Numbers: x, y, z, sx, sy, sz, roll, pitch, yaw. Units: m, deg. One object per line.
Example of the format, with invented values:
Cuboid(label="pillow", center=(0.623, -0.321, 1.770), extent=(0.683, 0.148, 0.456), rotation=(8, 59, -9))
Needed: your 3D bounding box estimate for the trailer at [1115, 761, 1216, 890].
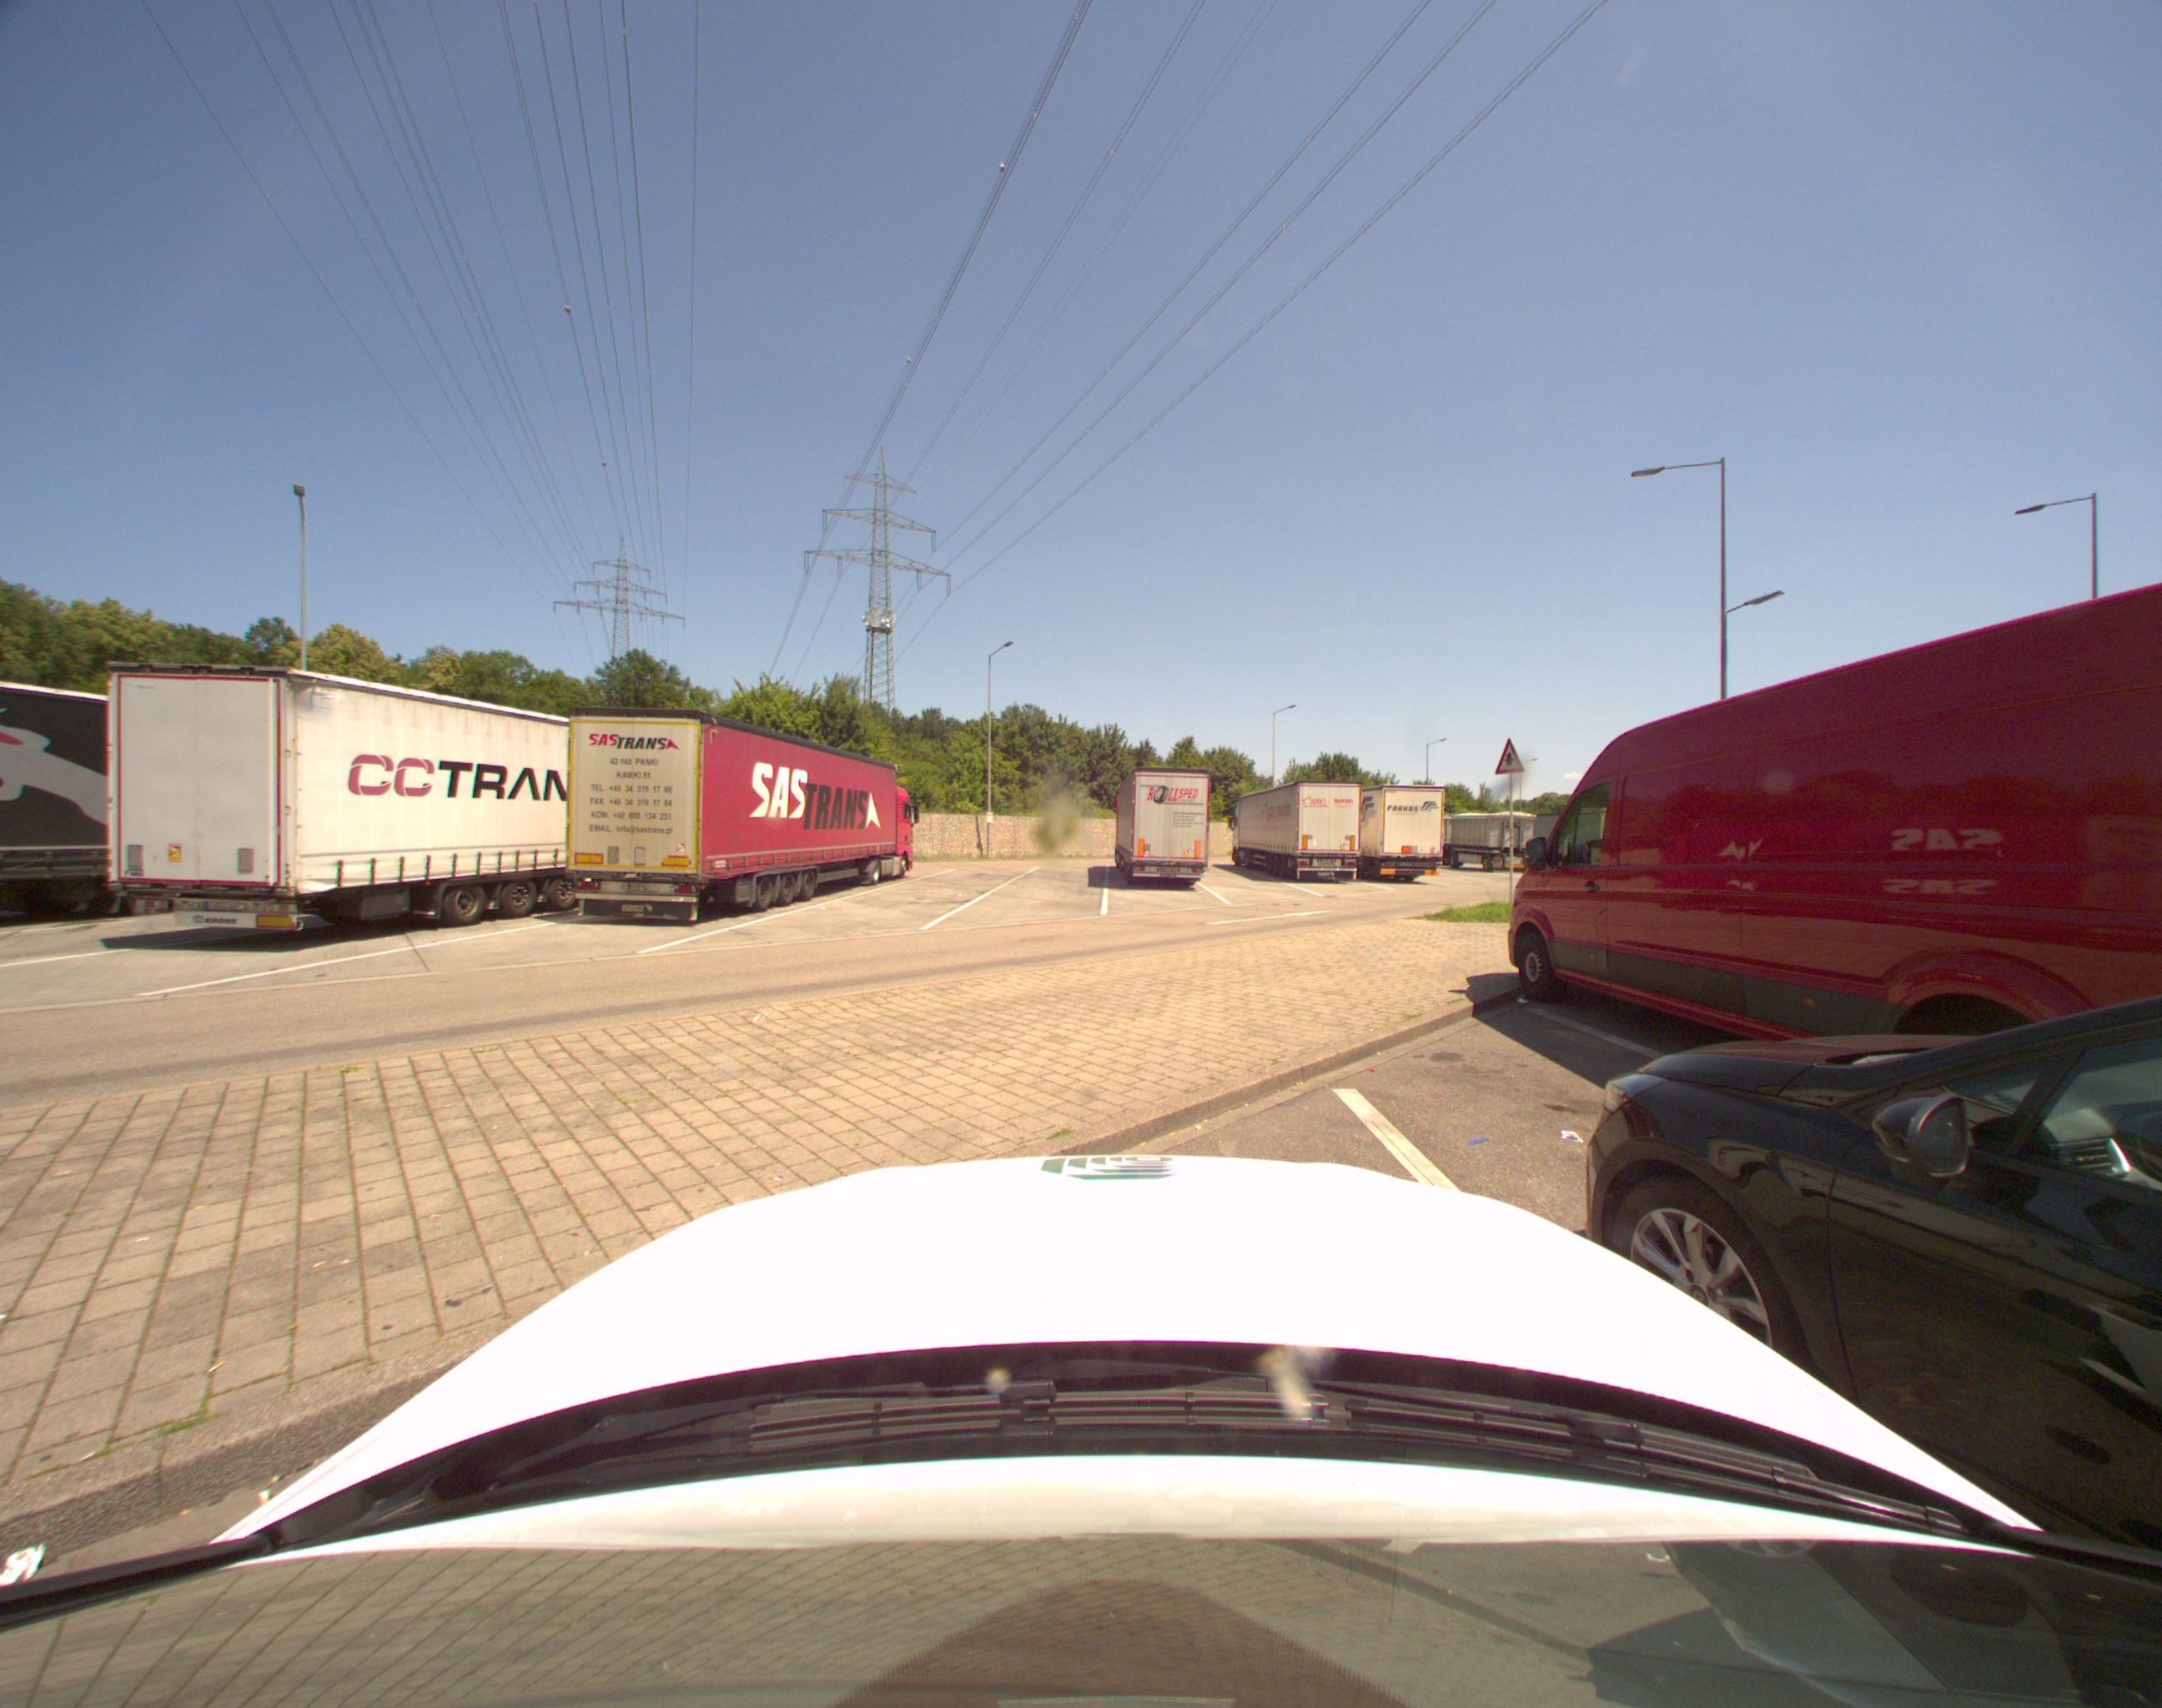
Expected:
Cuboid(label="trailer", center=(3.023, -1.111, 33.287), extent=(2.896, 4.132, 13.727), rotation=(1, 2, 1))

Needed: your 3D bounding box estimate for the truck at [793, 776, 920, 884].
Cuboid(label="truck", center=(-7.802, -0.842, 29.084), extent=(2.841, 3.427, 5.486), rotation=(1, 1, 2))

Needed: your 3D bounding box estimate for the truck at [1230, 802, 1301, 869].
Cuboid(label="truck", center=(10.162, -1.041, 45.425), extent=(2.841, 3.483, 5.486), rotation=(1, 1, 2))

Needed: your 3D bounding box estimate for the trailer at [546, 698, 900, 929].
Cuboid(label="trailer", center=(-8.041, -0.958, 21.648), extent=(2.896, 4.131, 13.731), rotation=(1, 2, 2))

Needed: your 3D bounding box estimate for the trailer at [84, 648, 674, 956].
Cuboid(label="trailer", center=(-12.206, -0.892, 16.319), extent=(2.718, 4.209, 10.175), rotation=(1, 2, 2))

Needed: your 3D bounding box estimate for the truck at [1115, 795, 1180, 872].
Cuboid(label="truck", center=(3.167, -0.999, 39.899), extent=(2.841, 3.483, 5.486), rotation=(1, 1, 2))

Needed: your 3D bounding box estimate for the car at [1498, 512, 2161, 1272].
Cuboid(label="car", center=(5.159, 0.084, 5.480), extent=(2.055, 2.695, 6.405), rotation=(-1, 1, 6))

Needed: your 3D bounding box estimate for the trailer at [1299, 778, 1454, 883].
Cuboid(label="trailer", center=(13.610, -1.132, 39.277), extent=(2.828, 4.132, 13.730), rotation=(1, 2, 2))

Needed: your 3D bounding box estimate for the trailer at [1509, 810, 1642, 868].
Cuboid(label="trailer", center=(38.373, -1.257, 64.127), extent=(2.826, 4.049, 13.737), rotation=(1, 2, 3))

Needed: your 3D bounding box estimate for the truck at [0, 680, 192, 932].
Cuboid(label="truck", center=(-18.582, -0.803, 13.554), extent=(2.692, 4.016, 4.326), rotation=(1, 2, 2))

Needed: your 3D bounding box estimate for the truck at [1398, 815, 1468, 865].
Cuboid(label="truck", center=(24.919, -1.026, 57.942), extent=(2.840, 3.364, 5.488), rotation=(1, 1, 3))

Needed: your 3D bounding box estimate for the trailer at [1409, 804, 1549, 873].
Cuboid(label="trailer", center=(24.530, -1.016, 51.443), extent=(2.826, 3.717, 13.737), rotation=(1, 2, 3))

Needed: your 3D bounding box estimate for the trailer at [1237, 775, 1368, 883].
Cuboid(label="trailer", center=(9.953, -1.165, 38.614), extent=(2.828, 4.132, 13.730), rotation=(1, 2, 2))

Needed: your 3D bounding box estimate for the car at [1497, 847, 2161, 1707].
Cuboid(label="car", center=(2.517, 0.752, 1.170), extent=(1.733, 1.482, 3.813), rotation=(-1, 1, -3))
